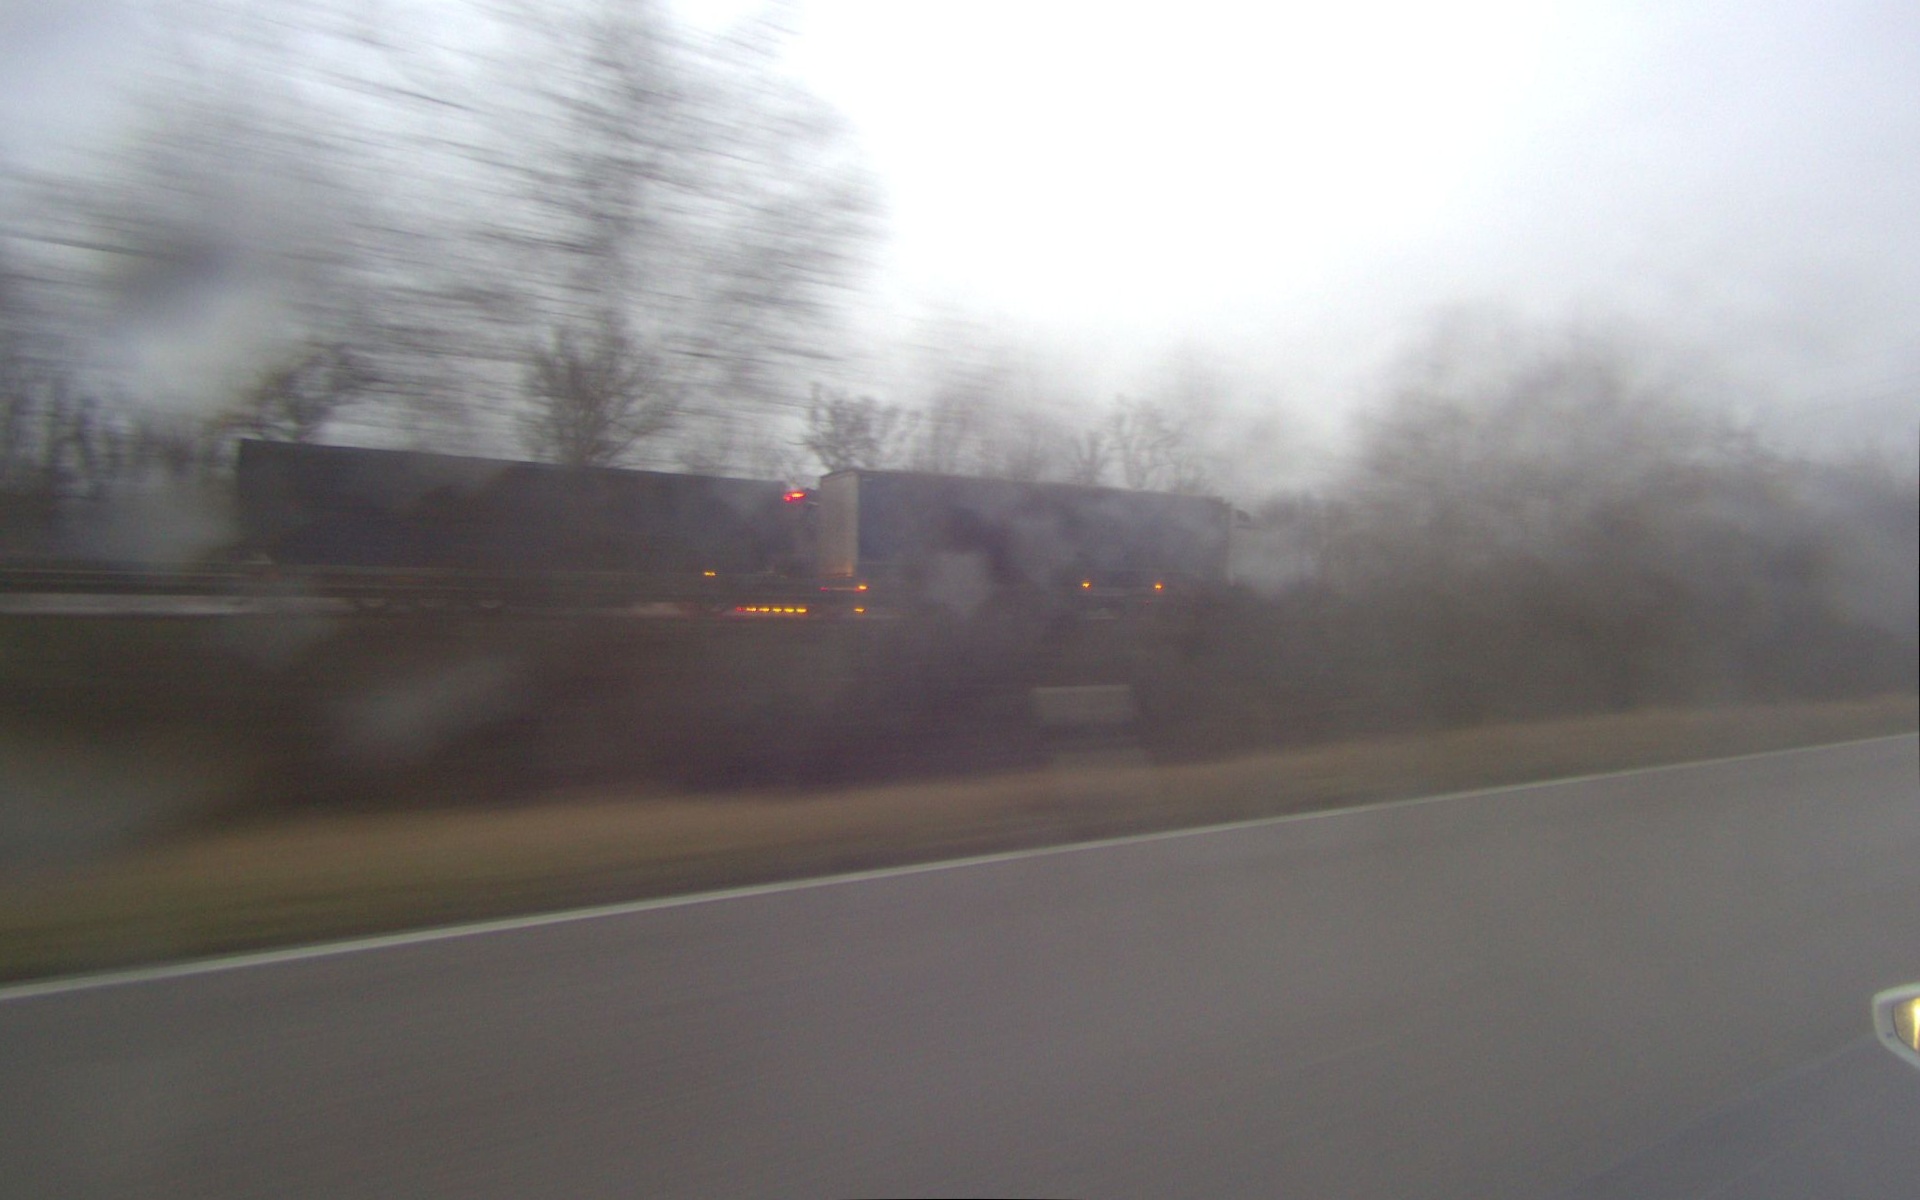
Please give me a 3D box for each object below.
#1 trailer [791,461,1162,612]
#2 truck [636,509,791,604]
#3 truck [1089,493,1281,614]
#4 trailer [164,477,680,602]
[{"bbox_3d":[0.797,-1.597,30.059,11.256,3.682,2.983,2,-1,-31],"label":"trailer"},{"bbox_3d":[-7.324,-1.195,29.831,3.953,2.468,2.518,1,-2,-30],"label":"truck"},{"bbox_3d":[7.683,-1.407,34.219,5.997,3.680,2.977,1,-1,-31],"label":"truck"},{"bbox_3d":[-13.341,-1.336,26.258,11.367,2.456,2.497,2,-2,-30],"label":"trailer"}]
